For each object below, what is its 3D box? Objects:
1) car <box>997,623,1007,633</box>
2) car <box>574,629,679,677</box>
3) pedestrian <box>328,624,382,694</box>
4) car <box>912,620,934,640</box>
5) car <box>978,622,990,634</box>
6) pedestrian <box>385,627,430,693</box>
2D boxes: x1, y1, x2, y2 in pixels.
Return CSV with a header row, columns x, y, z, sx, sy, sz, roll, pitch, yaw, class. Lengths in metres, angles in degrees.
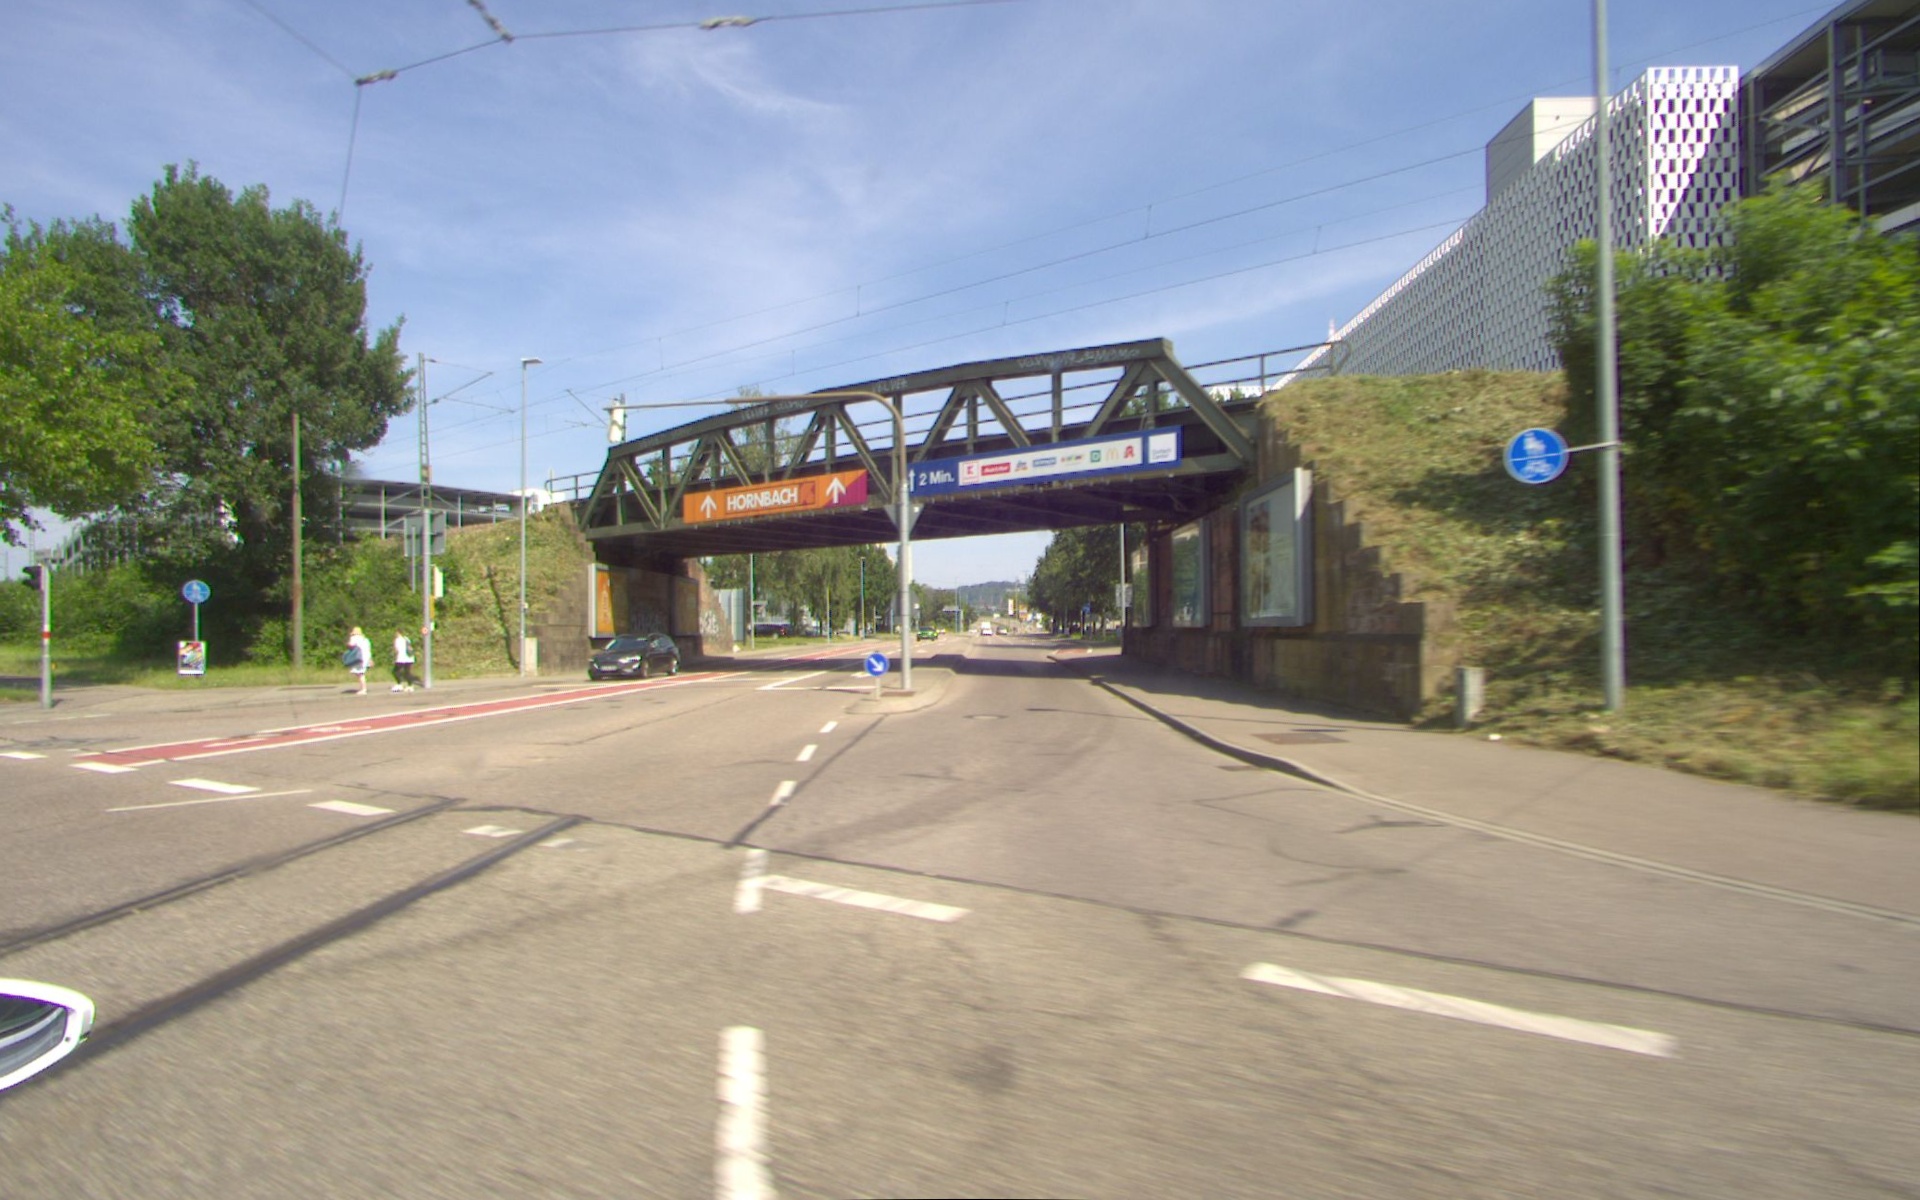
x,y,z,sx,sy,sz,roll,pitch,yaw,class
8.315,5.501,197.910,1.961,2.039,4.001,0,-1,3,car
-10.875,1.699,32.993,1.961,1.427,4.502,0,-1,0,car
-14.476,1.385,23.966,0.767,1.632,0.865,0,-1,36,pedestrian
-3.889,3.179,105.123,1.961,2.039,4.001,0,-1,3,car
4.102,4.819,173.801,1.961,2.039,4.001,0,-1,3,car
-13.834,1.480,25.073,0.767,1.600,0.727,0,-1,36,pedestrian
